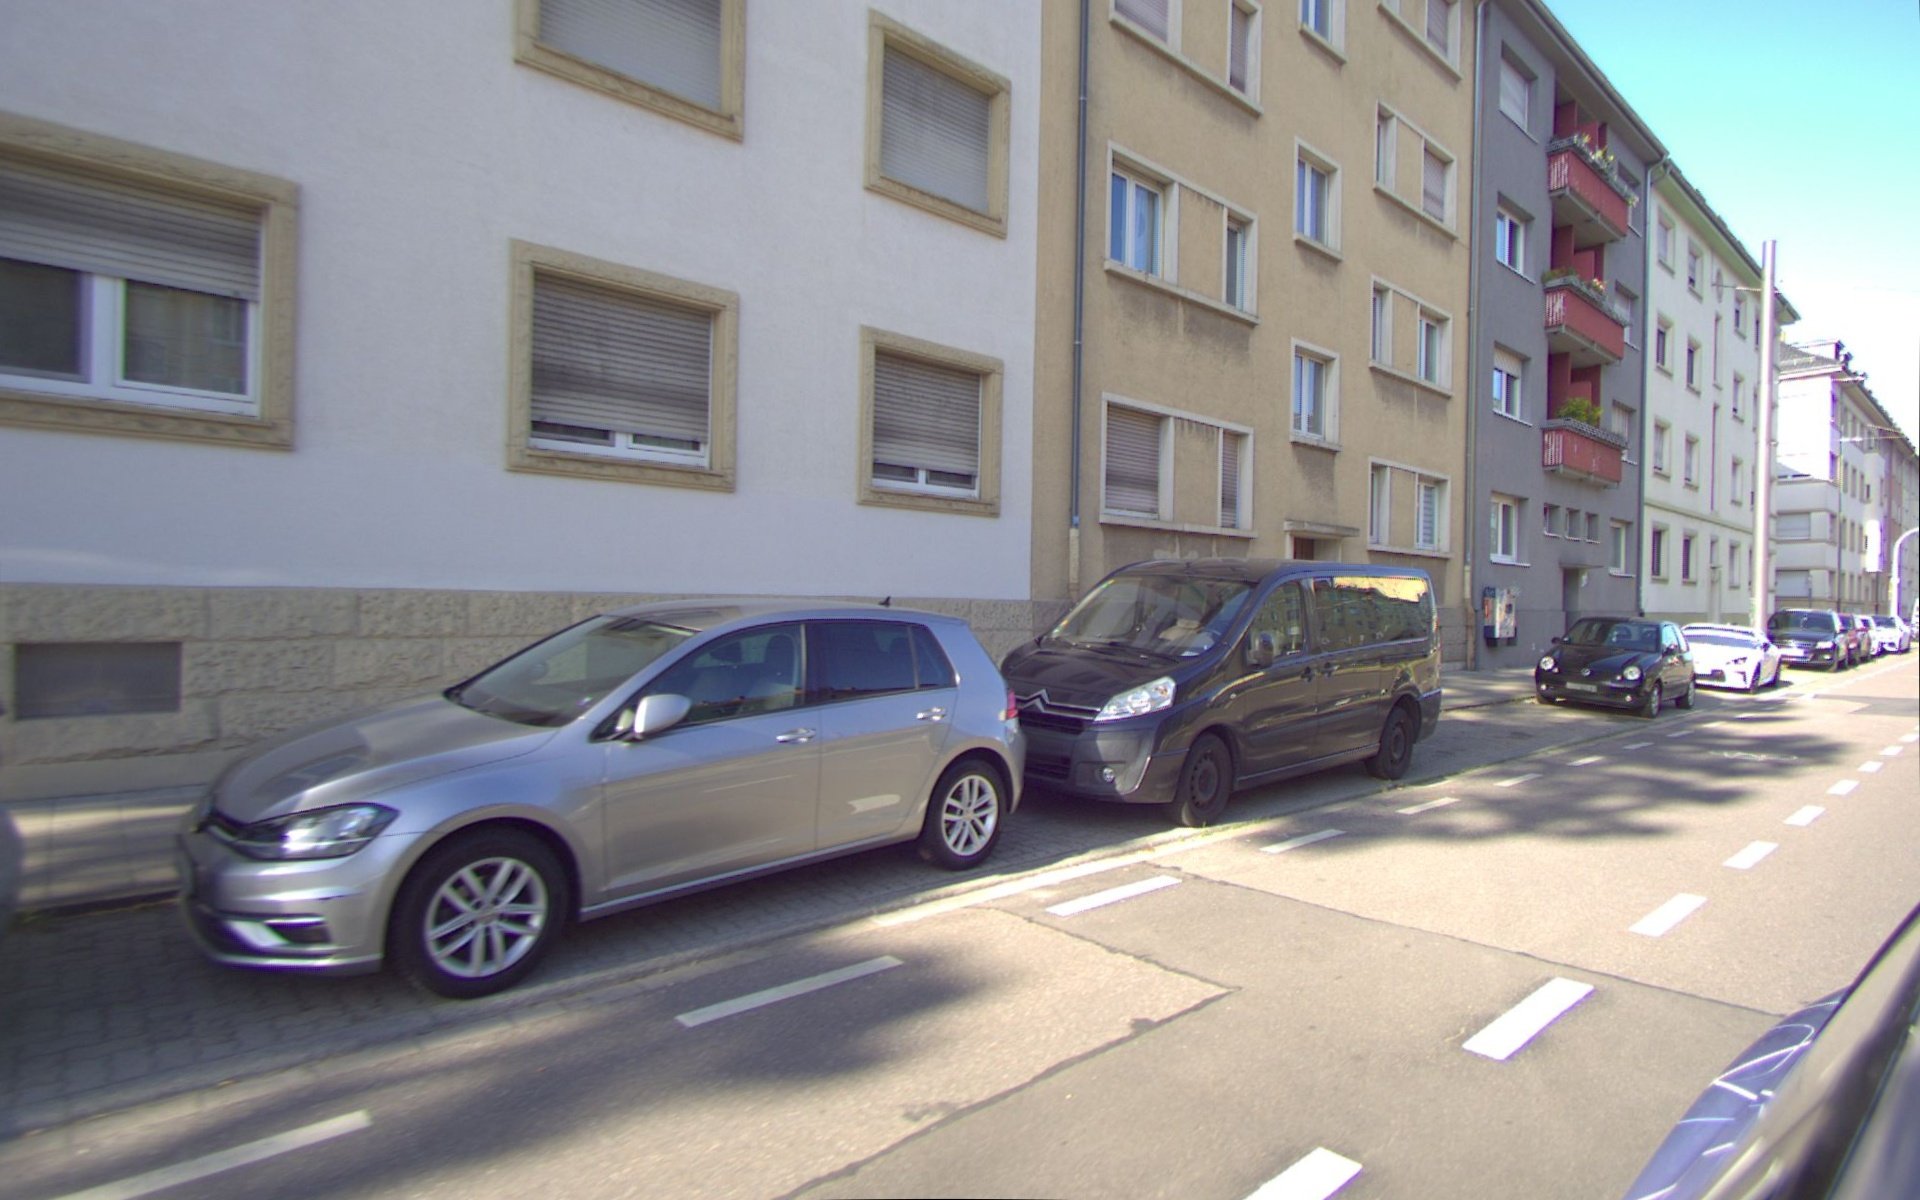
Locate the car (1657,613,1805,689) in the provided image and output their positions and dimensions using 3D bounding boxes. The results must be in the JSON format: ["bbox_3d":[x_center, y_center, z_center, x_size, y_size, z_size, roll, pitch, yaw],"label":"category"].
[{"bbox_3d":[16.265,0.995,21.271,4.230,1.291,1.705,0,4,-43],"label":"car"}]

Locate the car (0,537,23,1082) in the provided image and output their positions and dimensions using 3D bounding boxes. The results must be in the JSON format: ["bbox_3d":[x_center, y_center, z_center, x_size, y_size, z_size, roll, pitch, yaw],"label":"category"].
[{"bbox_3d":[-4.697,0.582,2.224,3.832,1.598,1.595,0,3,-45],"label":"car"}]

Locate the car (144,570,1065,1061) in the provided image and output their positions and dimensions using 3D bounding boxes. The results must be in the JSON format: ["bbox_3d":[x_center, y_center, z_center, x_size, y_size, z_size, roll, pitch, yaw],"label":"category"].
[{"bbox_3d":[-1.393,0.657,5.143,4.169,1.496,1.512,0,2,-45],"label":"car"}]

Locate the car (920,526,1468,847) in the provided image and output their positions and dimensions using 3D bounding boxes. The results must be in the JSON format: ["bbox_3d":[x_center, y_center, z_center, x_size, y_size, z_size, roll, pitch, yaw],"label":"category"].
[{"bbox_3d":[2.239,0.488,8.544,5.047,1.922,1.916,0,3,-43],"label":"car"}]

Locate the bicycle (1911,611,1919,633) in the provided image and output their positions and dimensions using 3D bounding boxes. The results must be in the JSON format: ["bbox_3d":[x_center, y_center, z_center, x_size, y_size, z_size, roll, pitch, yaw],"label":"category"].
[{"bbox_3d":[51.199,1.195,53.253,0.465,1.100,1.918,-2,2,1],"label":"bicycle"}]

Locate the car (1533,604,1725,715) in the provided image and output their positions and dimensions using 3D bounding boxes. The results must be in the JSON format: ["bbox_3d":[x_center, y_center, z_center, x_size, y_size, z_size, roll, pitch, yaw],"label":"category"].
[{"bbox_3d":[10.822,0.864,16.283,3.724,1.471,1.639,1,3,-42],"label":"car"}]

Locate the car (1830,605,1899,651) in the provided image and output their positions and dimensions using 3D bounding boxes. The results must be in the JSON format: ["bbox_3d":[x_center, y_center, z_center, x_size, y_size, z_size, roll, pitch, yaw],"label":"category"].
[{"bbox_3d":[31.994,0.938,35.755,1.636,1.477,4.016,2,1,44],"label":"car"}]

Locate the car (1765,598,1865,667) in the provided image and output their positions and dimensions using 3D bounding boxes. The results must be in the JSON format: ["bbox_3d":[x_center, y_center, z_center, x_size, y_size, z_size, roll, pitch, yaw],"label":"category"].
[{"bbox_3d":[23.819,0.848,28.137,4.301,1.667,1.637,1,3,-44],"label":"car"}]

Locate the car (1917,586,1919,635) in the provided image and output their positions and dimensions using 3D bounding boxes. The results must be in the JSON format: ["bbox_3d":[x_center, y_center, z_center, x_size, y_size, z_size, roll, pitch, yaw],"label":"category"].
[{"bbox_3d":[55.227,0.590,56.416,6.184,2.729,2.154,1,2,-42],"label":"car"}]

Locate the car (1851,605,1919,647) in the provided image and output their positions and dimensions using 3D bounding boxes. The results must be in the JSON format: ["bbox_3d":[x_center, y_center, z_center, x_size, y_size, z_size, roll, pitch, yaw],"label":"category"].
[{"bbox_3d":[35.866,0.963,39.057,4.303,1.477,1.697,1,1,-42],"label":"car"}]

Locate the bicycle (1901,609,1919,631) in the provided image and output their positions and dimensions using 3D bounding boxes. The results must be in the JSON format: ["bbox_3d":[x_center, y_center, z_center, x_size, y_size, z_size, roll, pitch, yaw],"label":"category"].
[{"bbox_3d":[50.033,1.089,52.551,0.465,1.100,1.918,3,2,1],"label":"bicycle"}]

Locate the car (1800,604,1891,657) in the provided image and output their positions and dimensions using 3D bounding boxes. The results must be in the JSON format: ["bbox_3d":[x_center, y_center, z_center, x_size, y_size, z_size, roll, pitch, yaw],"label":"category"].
[{"bbox_3d":[28.062,0.928,32.041,4.115,1.536,1.638,1,1,-42],"label":"car"}]
